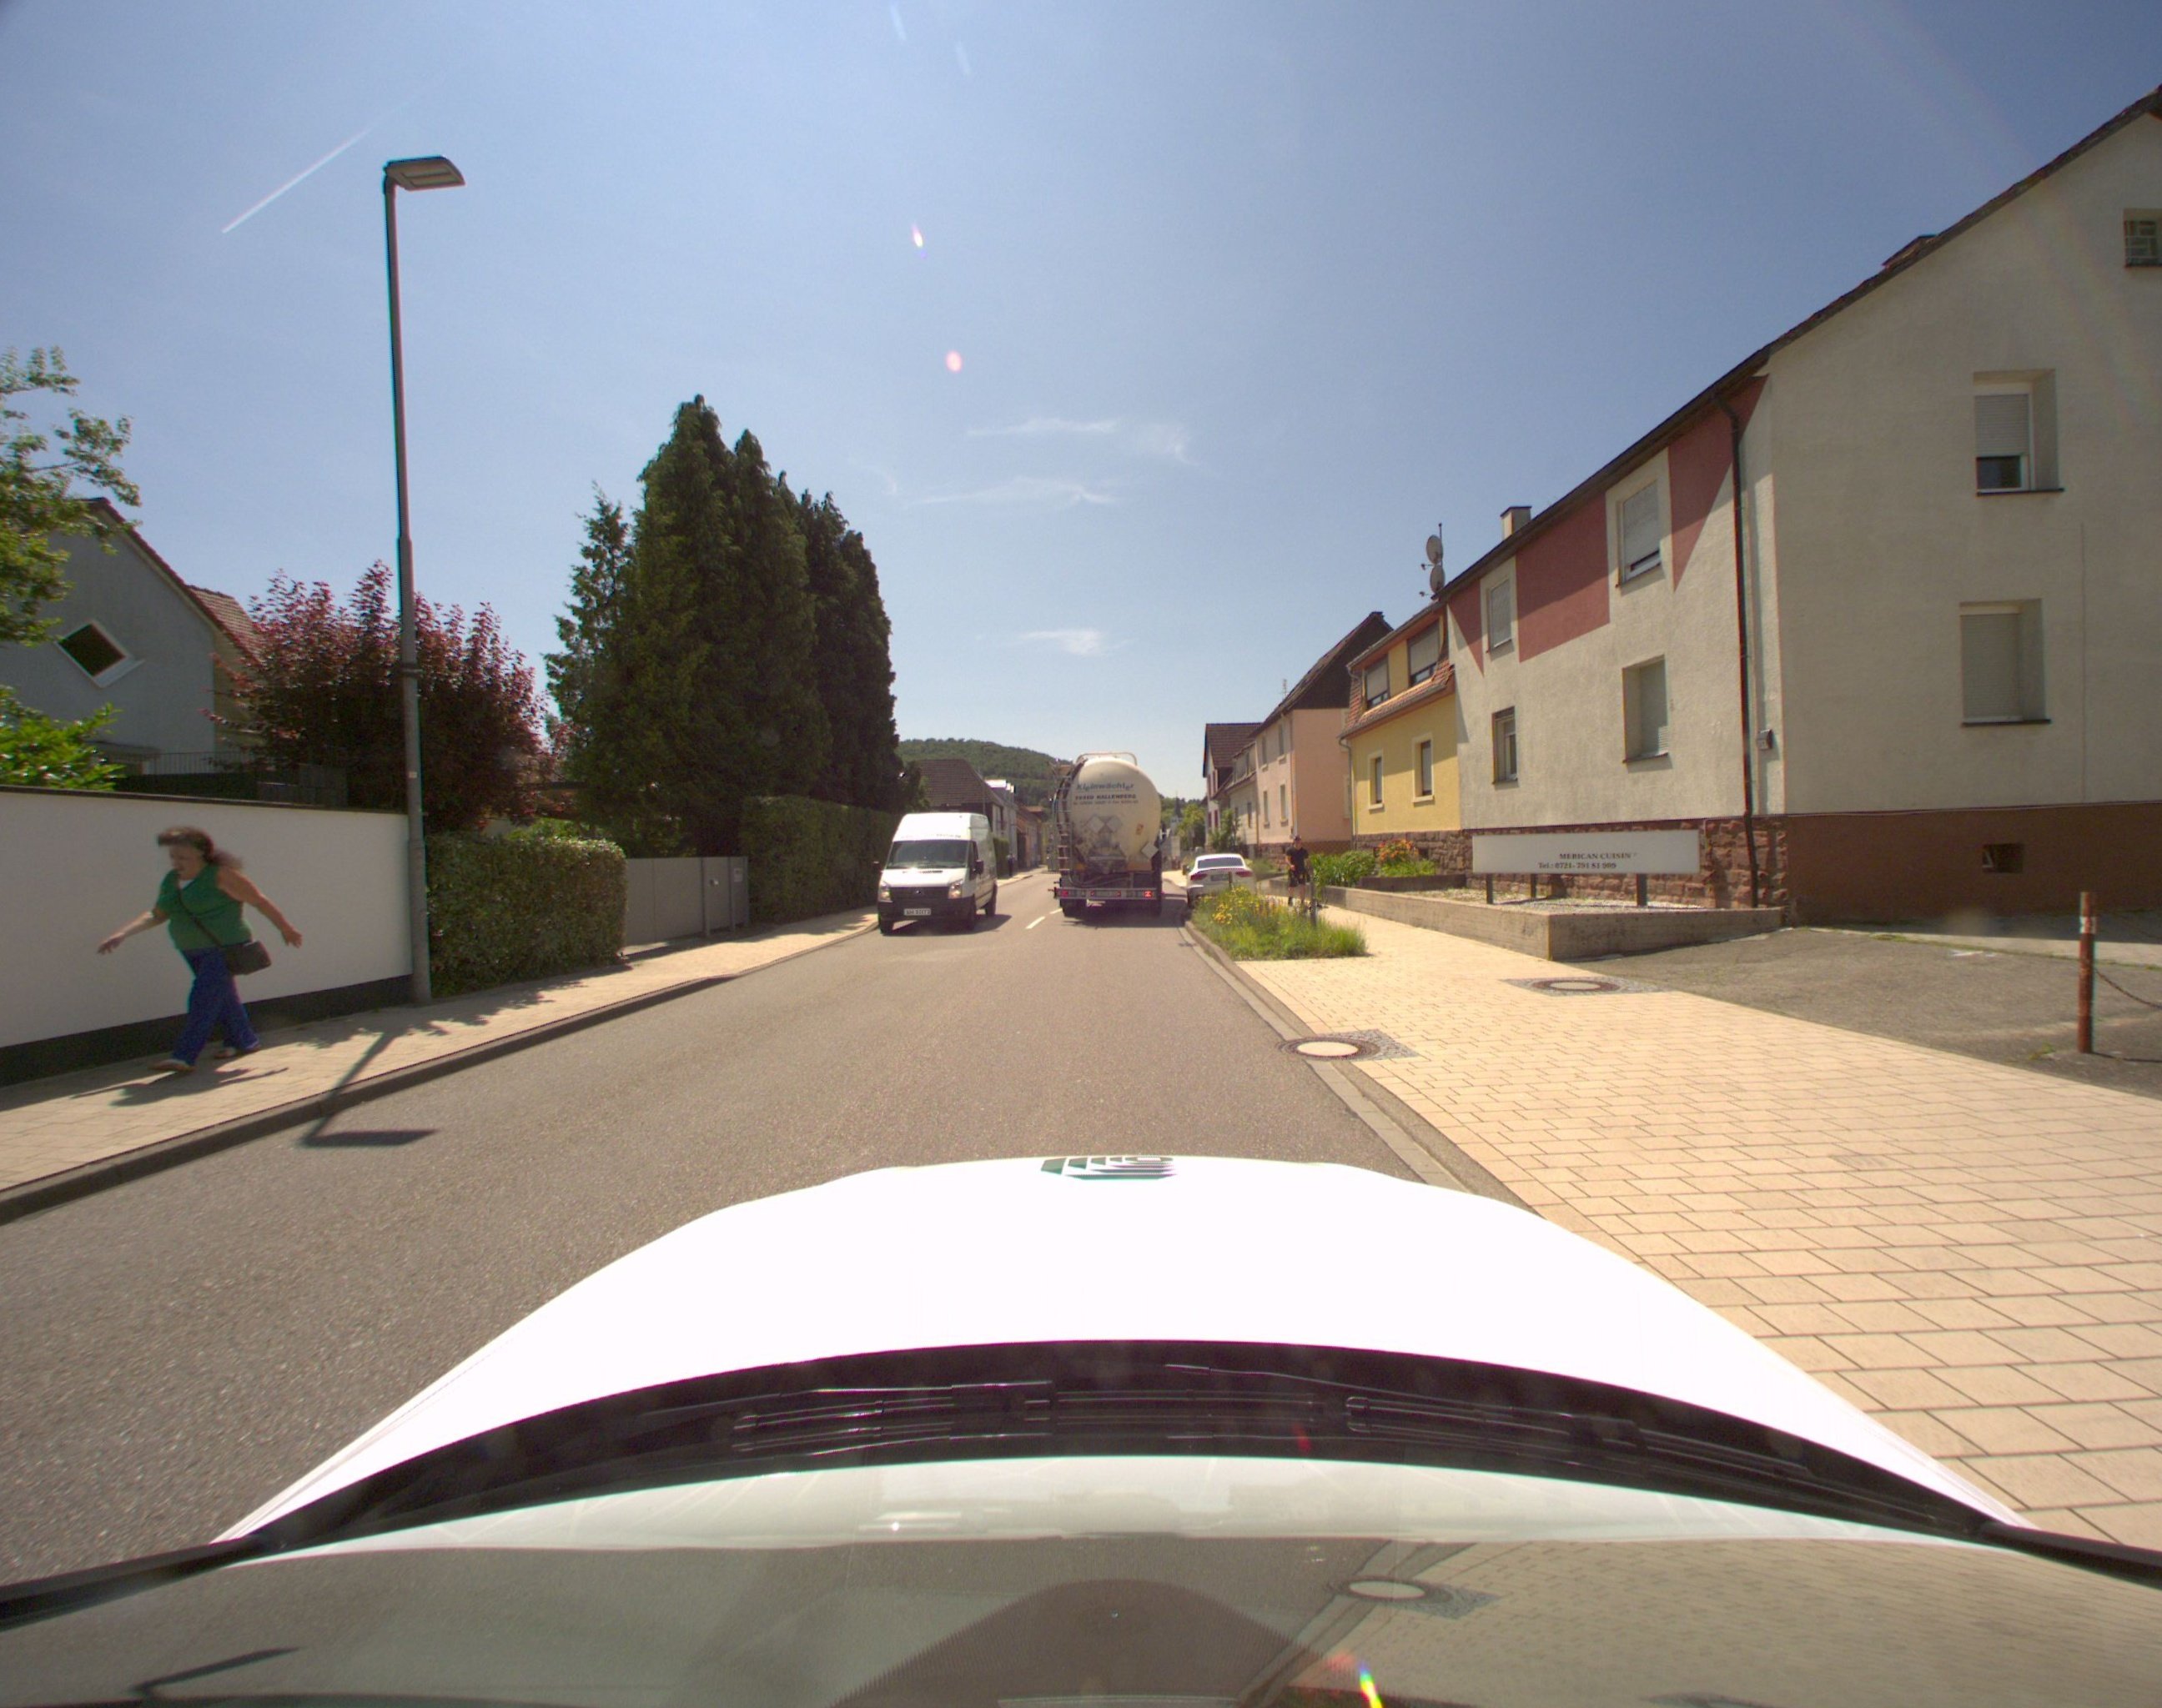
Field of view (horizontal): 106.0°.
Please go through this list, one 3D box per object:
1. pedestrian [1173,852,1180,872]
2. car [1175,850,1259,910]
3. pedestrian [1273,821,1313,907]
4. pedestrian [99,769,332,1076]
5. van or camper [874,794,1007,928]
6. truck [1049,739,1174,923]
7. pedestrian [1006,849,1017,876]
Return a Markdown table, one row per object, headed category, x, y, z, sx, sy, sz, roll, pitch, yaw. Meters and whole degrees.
| category | x | y | z | sx | sy | sz | roll | pitch | yaw |
| --- | --- | --- | --- | --- | --- | --- | --- | --- | --- |
| pedestrian | 7.815 | 0.662 | 66.926 | 0.568 | 1.694 | 0.722 | 0 | -1 | 5 |
| car | 3.670 | 0.707 | 22.715 | 1.749 | 1.418 | 4.636 | -3 | -2 | 3 |
| pedestrian | 5.141 | 0.245 | 19.779 | 0.743 | 2.014 | 1.034 | 0 | -1 | 2 |
| pedestrian | -6.063 | 0.455 | 5.762 | 0.718 | 2.014 | 0.804 | 0 | -1 | 2 |
| van or camper | -3.168 | 0.197 | 19.721 | 2.030 | 2.713 | 5.824 | -2 | -1 | 1 |
| truck | 0.756 | -0.501 | 23.479 | 2.741 | 4.057 | 10.890 | -1 | 0 | 1 |
| pedestrian | -4.760 | 0.607 | 55.799 | 0.710 | 1.823 | 0.897 | 0 | -1 | -3 |
